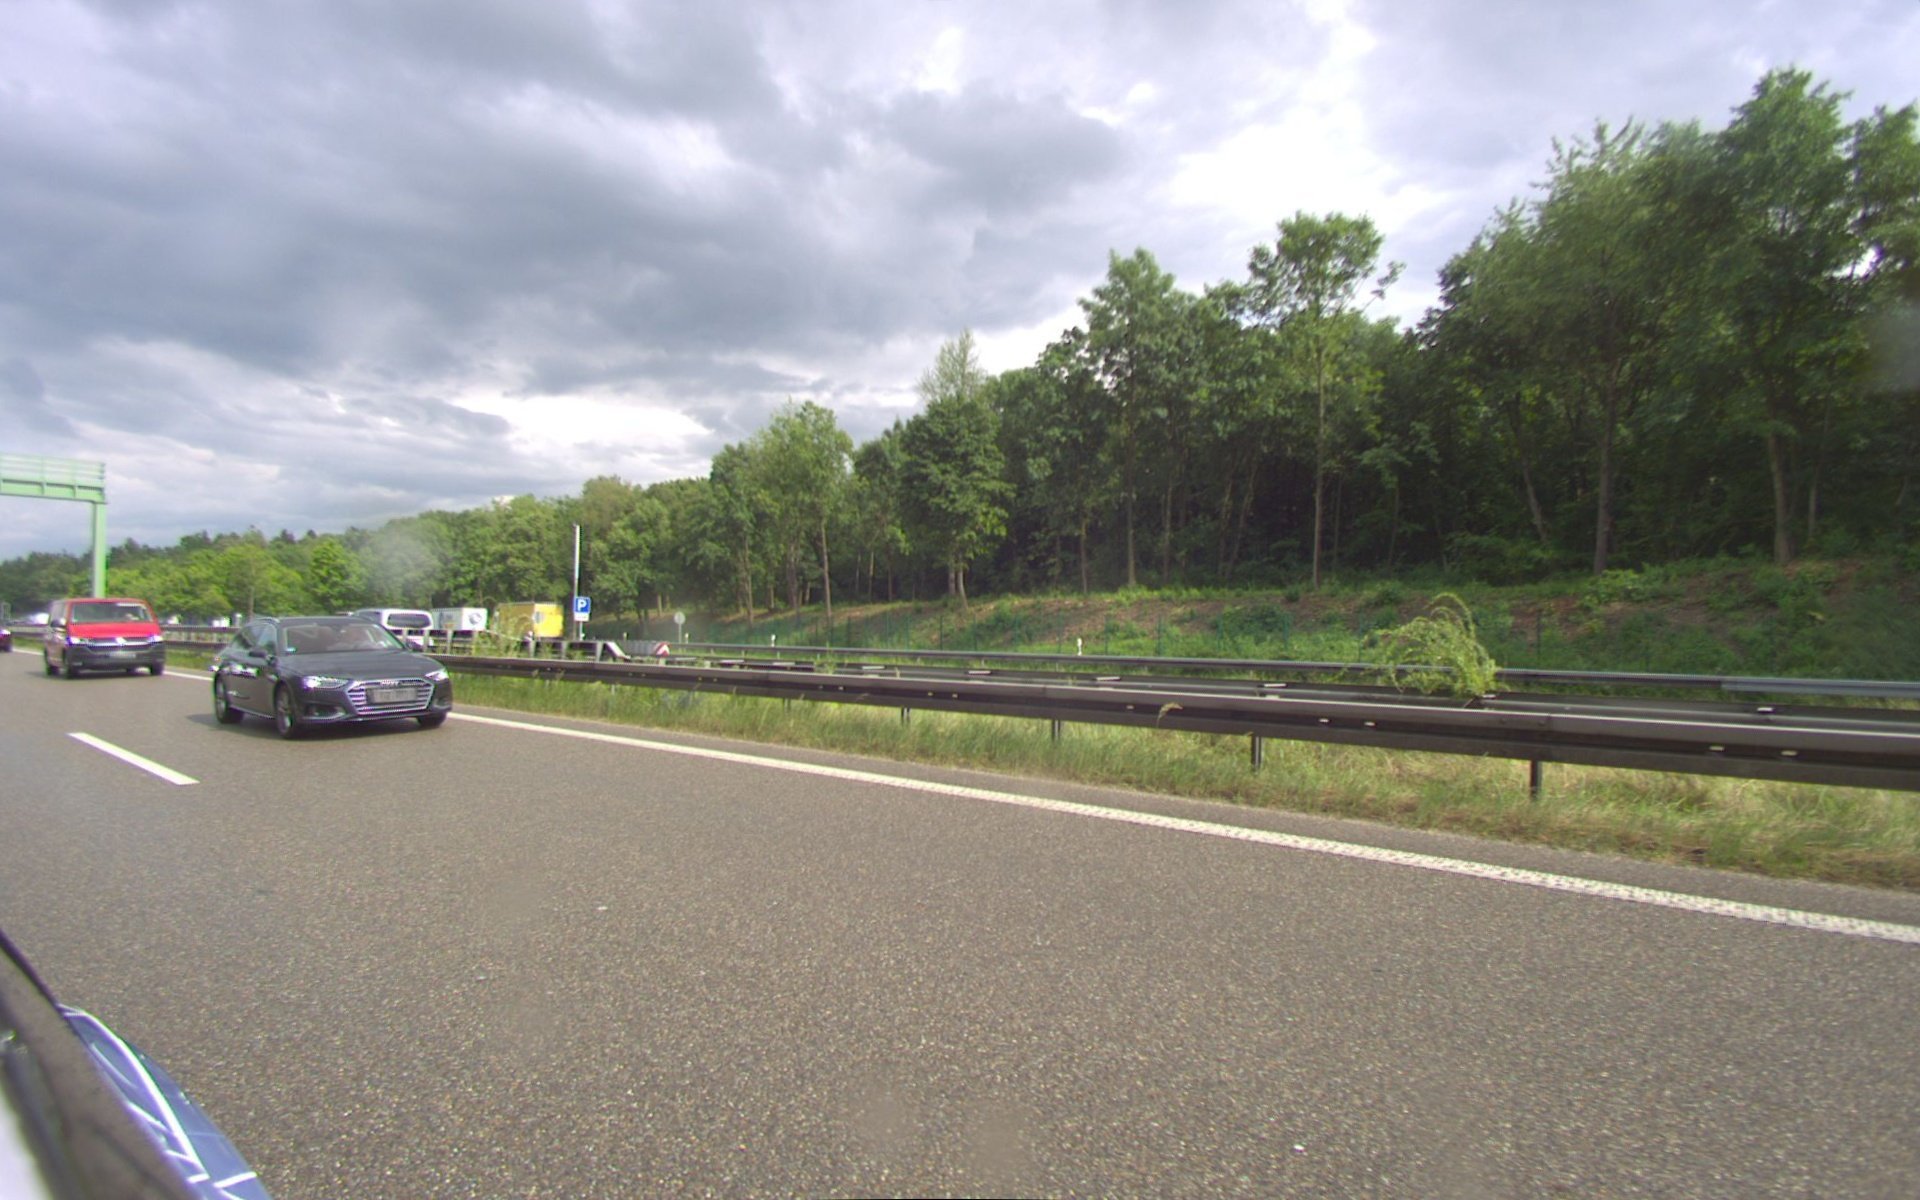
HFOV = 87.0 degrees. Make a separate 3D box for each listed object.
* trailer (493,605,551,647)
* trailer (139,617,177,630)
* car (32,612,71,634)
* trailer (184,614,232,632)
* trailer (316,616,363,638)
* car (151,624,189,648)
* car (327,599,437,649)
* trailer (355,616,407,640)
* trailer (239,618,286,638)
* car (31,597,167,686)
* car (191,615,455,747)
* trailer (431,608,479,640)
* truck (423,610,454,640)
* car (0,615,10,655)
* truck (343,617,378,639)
[{"bbox_3d":[-42.138,2.426,96.993,1.967,3.723,13.689,0,0,-37],"label":"trailer"},{"bbox_3d":[-161.858,4.738,204.268,9.839,2.594,2.511,-1,-1,30],"label":"trailer"},{"bbox_3d":[-79.600,2.022,88.633,4.617,1.848,1.973,-1,1,42],"label":"car"},{"bbox_3d":[-143.944,4.470,193.656,13.375,3.297,3.050,-1,-2,34],"label":"trailer"},{"bbox_3d":[-96.484,4.222,157.241,12.640,3.297,2.577,-1,-3,41],"label":"trailer"},{"bbox_3d":[-71.994,3.264,92.224,3.998,2.029,1.973,-1,0,41],"label":"car"},{"bbox_3d":[-20.801,0.871,36.328,4.965,1.692,1.888,-1,-3,41],"label":"car"},{"bbox_3d":[-82.979,4.001,144.848,12.173,3.217,2.986,-1,-3,43],"label":"trailer"},{"bbox_3d":[-123.564,4.951,179.183,12.632,3.297,3.153,-1,-3,38],"label":"trailer"},{"bbox_3d":[-21.466,0.974,25.154,4.747,2.000,1.871,-1,-1,41],"label":"car"},{"bbox_3d":[-8.448,0.938,13.254,4.465,1.422,1.701,-1,0,41],"label":"car"},{"bbox_3d":[-60.119,2.929,120.354,2.156,3.627,11.734,2,-3,-41],"label":"trailer"},{"bbox_3d":[-64.721,3.080,125.538,2.136,3.648,5.585,2,-3,-41],"label":"truck"},{"bbox_3d":[-41.583,1.472,42.617,4.292,1.682,1.871,-1,-1,41],"label":"car"},{"bbox_3d":[-88.879,4.135,150.036,5.597,3.208,3.009,-1,-3,43],"label":"truck"}]
